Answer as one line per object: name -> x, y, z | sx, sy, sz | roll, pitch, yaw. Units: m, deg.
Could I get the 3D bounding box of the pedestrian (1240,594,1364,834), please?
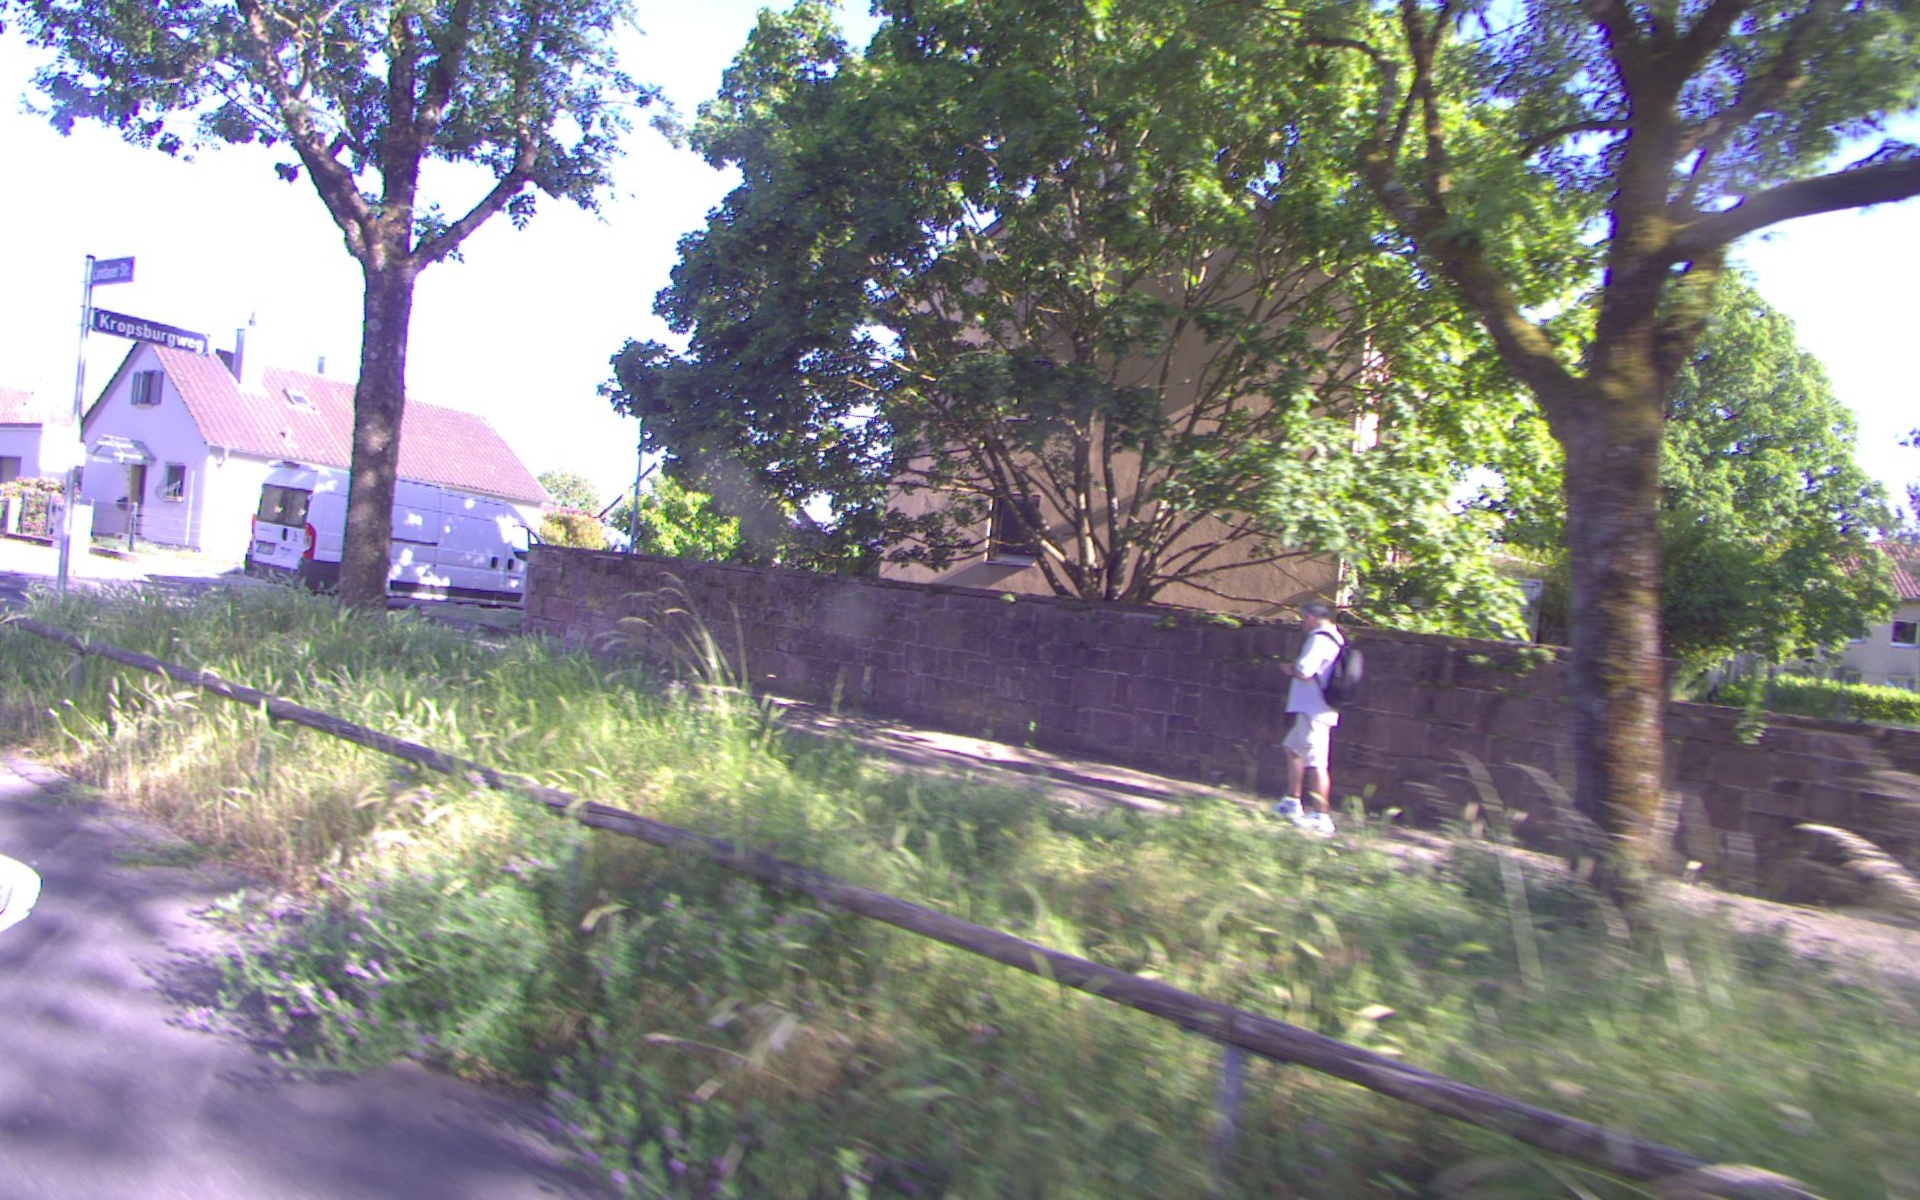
pedestrian -> 2.682, 0.858, 7.874 | 0.602, 1.729, 0.637 | 8, 4, 30

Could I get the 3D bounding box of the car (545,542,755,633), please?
car -> -7.717, -0.253, 25.580 | 2.246, 1.600, 4.753 | 8, -1, 28

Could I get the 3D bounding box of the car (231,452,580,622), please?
car -> -10.720, -1.093, 20.039 | 2.227, 2.570, 5.604 | 7, 0, 29
